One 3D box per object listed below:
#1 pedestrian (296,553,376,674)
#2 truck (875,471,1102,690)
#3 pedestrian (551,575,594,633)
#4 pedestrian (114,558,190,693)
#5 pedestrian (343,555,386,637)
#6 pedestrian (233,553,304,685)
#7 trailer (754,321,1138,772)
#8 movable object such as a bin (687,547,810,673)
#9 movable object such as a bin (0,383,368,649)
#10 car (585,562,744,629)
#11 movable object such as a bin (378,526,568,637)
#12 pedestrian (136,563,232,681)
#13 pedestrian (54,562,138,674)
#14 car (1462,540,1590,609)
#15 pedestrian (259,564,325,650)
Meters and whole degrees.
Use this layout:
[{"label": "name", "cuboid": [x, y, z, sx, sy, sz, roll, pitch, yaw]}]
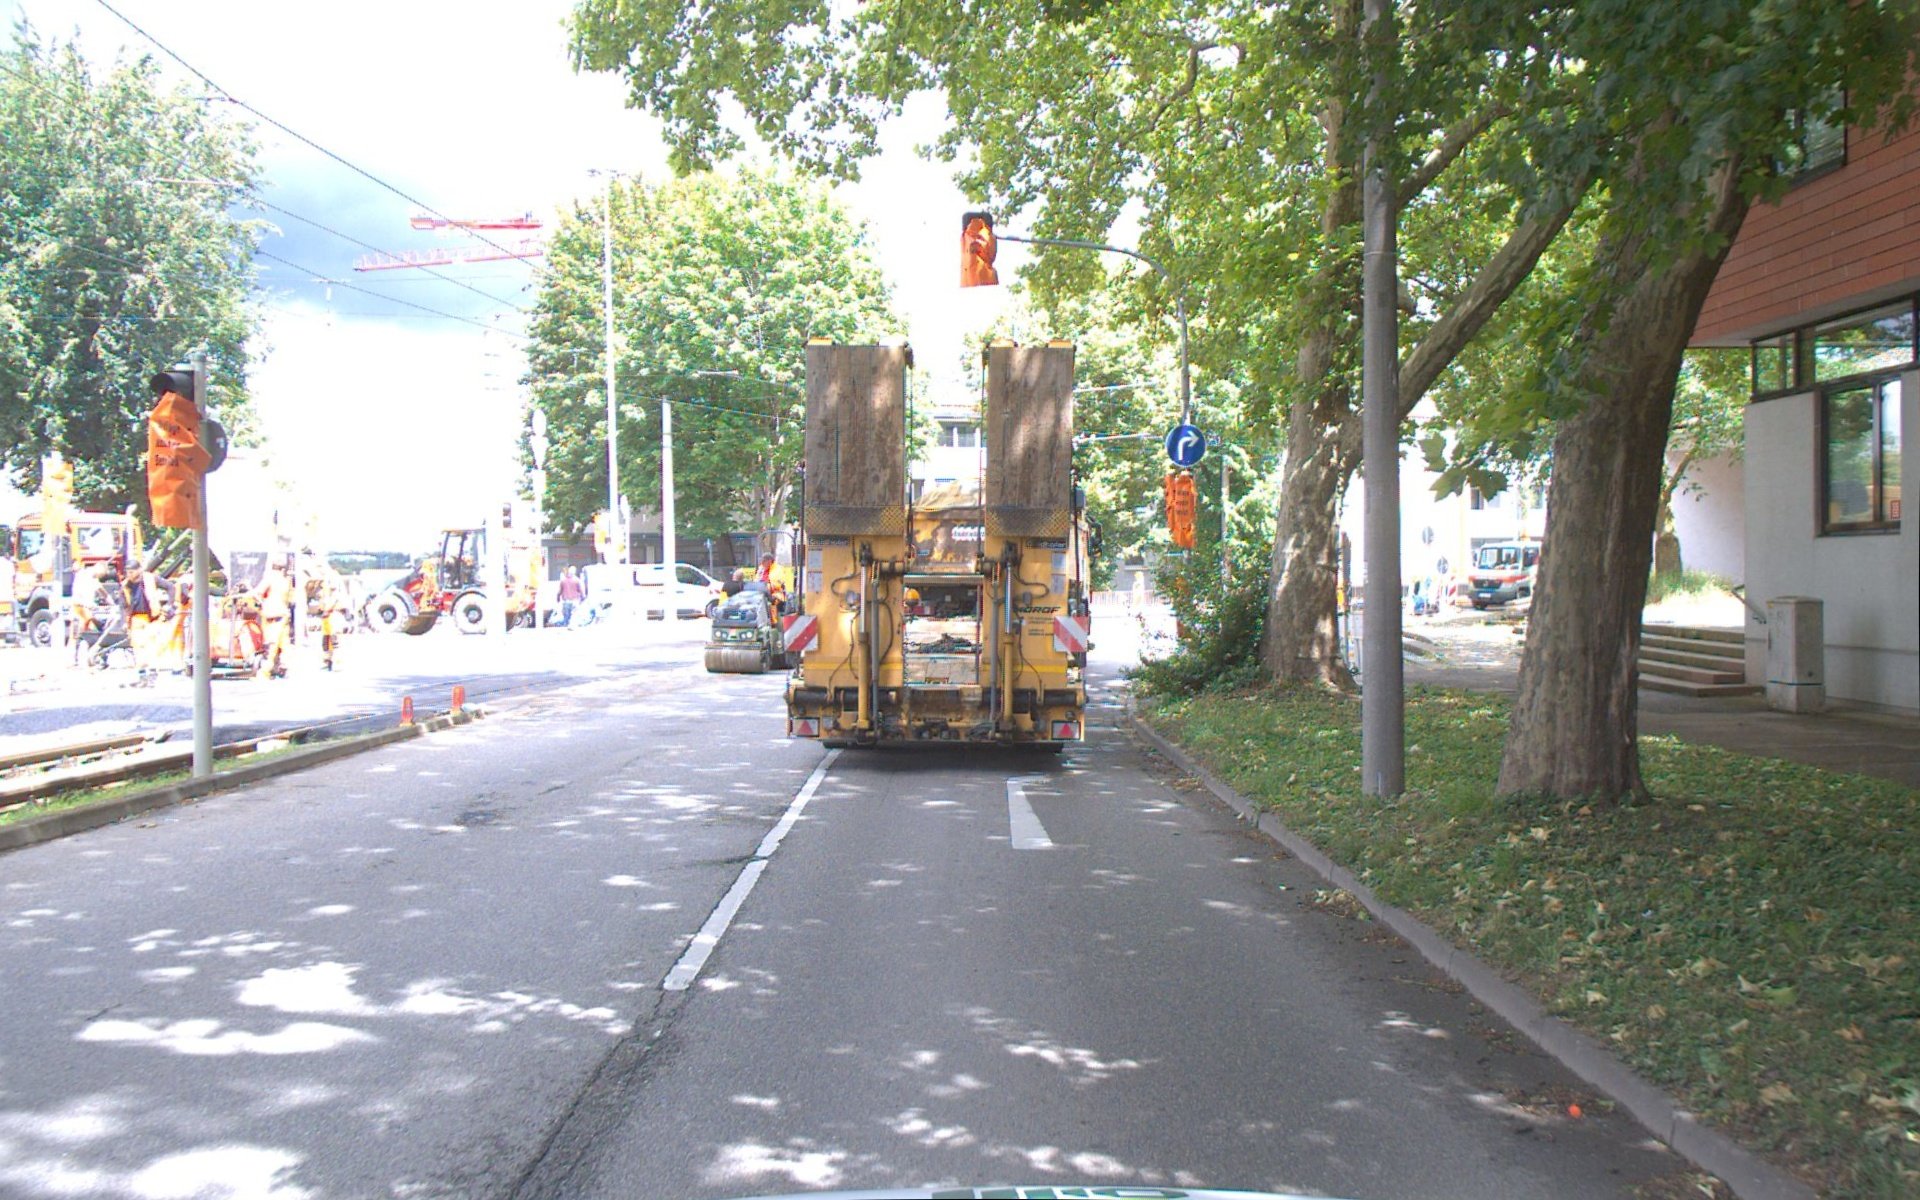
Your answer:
[{"label": "pedestrian", "cuboid": [-10.032, 0.208, 26.605, 0.868, 1.900, 0.836, 0, 0, 28]}, {"label": "truck", "cuboid": [0.742, -0.300, 28.263, 2.925, 3.190, 7.894, 0, 0, 8]}, {"label": "pedestrian", "cuboid": [-9.690, 0.089, 41.389, 0.898, 1.434, 0.752, 0, 0, -3]}, {"label": "pedestrian", "cuboid": [-11.019, 0.331, 22.547, 0.876, 1.791, 0.828, 0, 0, -31]}, {"label": "pedestrian", "cuboid": [-13.875, -0.098, 38.584, 0.820, 1.900, 0.885, 0, 0, -12]}, {"label": "pedestrian", "cuboid": [-10.216, 0.272, 24.419, 0.876, 1.900, 0.829, 0, 0, -29]}, {"label": "trailer", "cuboid": [0.188, -0.450, 18.856, 3.088, 3.615, 11.101, 0, 0, 3]}, {"label": "movable object such as a bin", "cuboid": [-3.565, 0.152, 28.261, 1.369, 2.049, 2.558, 0, 0, 10]}, {"label": "movable object such as a bin", "cuboid": [-17.784, -1.763, 37.546, 9.021, 5.509, 2.661, 0, 0, 26]}, {"label": "car", "cuboid": [-9.699, -0.142, 54.248, 5.004, 2.139, 1.969, 0, 0, -15]}, {"label": "movable object such as a bin", "cuboid": [-12.317, -0.464, 41.847, 4.281, 2.675, 2.218, 0, 0, 26]}, {"label": "pedestrian", "cuboid": [-11.790, 0.322, 25.133, 0.873, 1.745, 1.102, 0, 0, 45]}, {"label": "pedestrian", "cuboid": [-13.269, 0.265, 25.405, 0.820, 1.673, 0.885, 0, 0, 36]}, {"label": "car", "cuboid": [20.502, -0.910, 59.863, 4.191, 2.406, 2.139, 0, 0, -28]}, {"label": "pedestrian", "cuboid": [-13.266, 0.138, 32.860, 0.866, 1.673, 0.900, 0, 0, 10]}]
